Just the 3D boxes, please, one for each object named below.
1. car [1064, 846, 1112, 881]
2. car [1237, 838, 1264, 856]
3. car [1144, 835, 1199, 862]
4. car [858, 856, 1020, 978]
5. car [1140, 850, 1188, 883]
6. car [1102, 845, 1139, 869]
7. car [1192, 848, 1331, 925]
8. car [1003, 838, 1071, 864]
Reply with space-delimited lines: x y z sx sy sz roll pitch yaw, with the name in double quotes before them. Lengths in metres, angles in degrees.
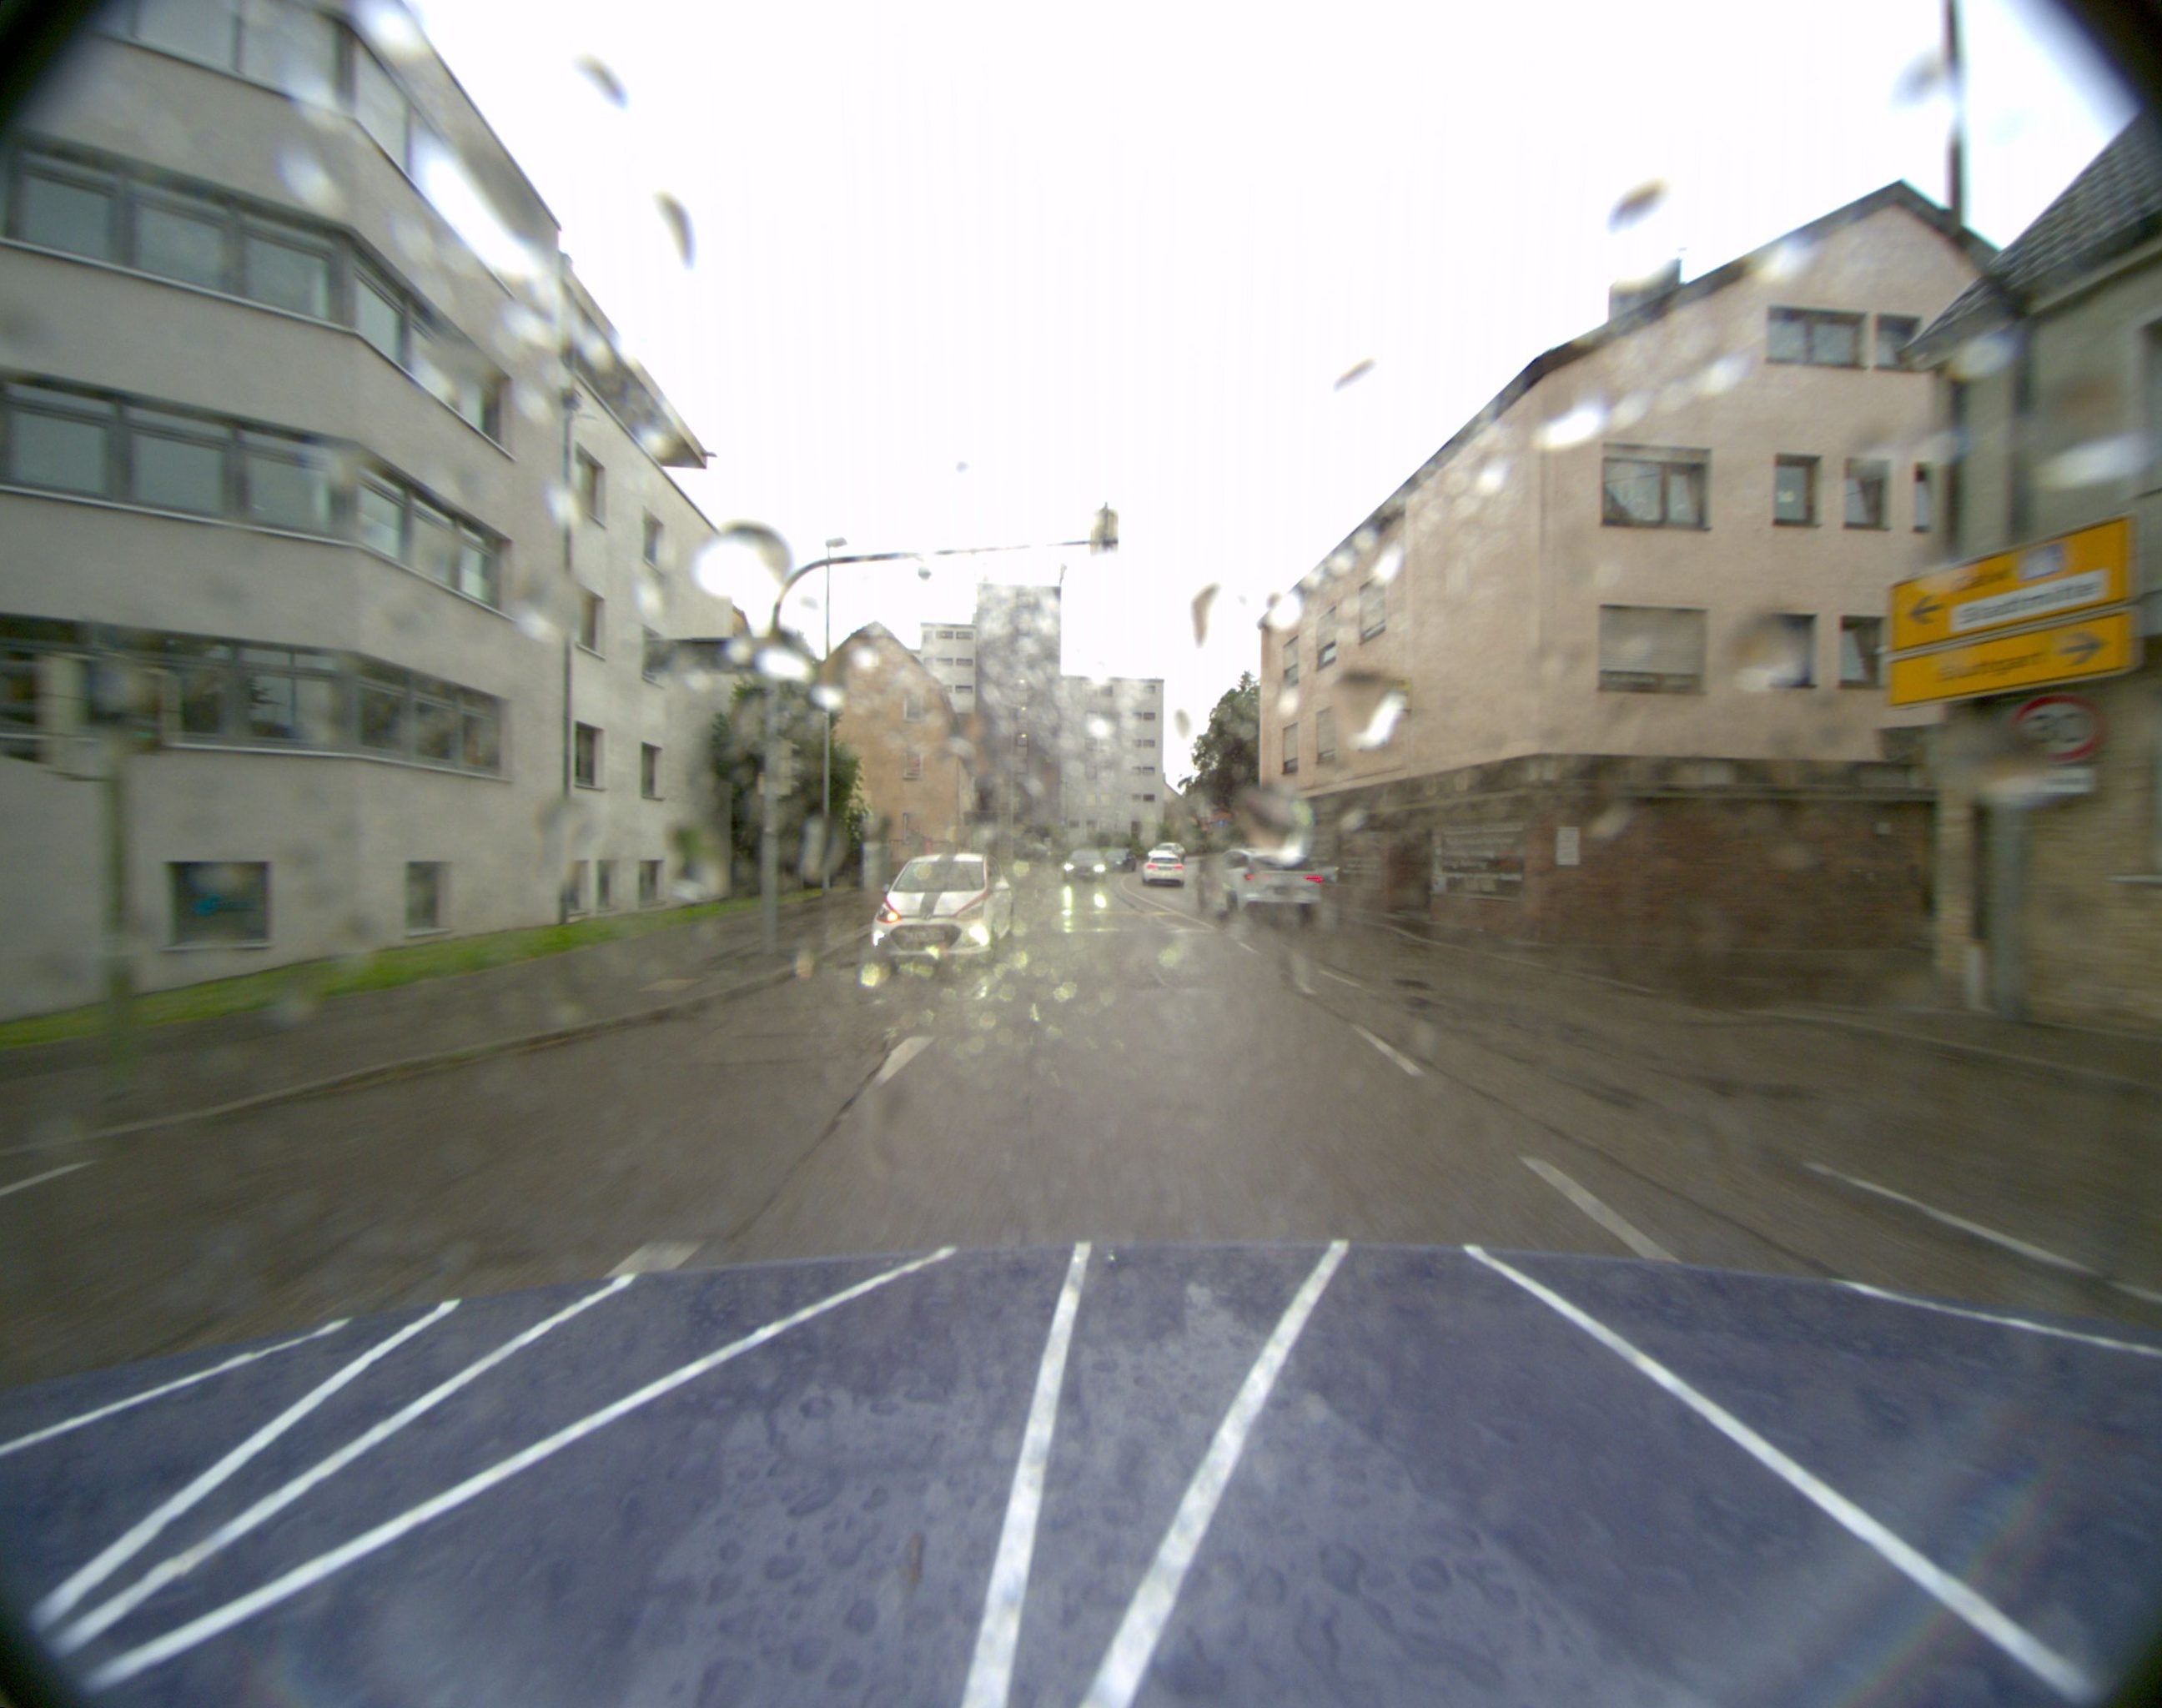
"car" 0.394 0.386 36.107 1.837 1.505 4.849 0 1 5
"car" 14.261 -0.625 63.879 1.772 1.394 3.924 2 2 19
"car" 7.105 -0.428 59.309 1.896 1.648 4.958 2 -3 37
"car" -2.006 0.836 11.807 1.711 1.445 3.762 -2 1 1
"car" 3.737 0.552 34.824 1.694 1.365 4.113 2 0 0
"car" 2.534 0.149 47.784 1.789 1.339 4.947 -1 1 8
"car" 4.008 0.682 17.636 1.790 1.551 4.334 1 0 -6
"car" -3.096 -0.254 53.507 4.407 1.564 1.721 3 4 22
